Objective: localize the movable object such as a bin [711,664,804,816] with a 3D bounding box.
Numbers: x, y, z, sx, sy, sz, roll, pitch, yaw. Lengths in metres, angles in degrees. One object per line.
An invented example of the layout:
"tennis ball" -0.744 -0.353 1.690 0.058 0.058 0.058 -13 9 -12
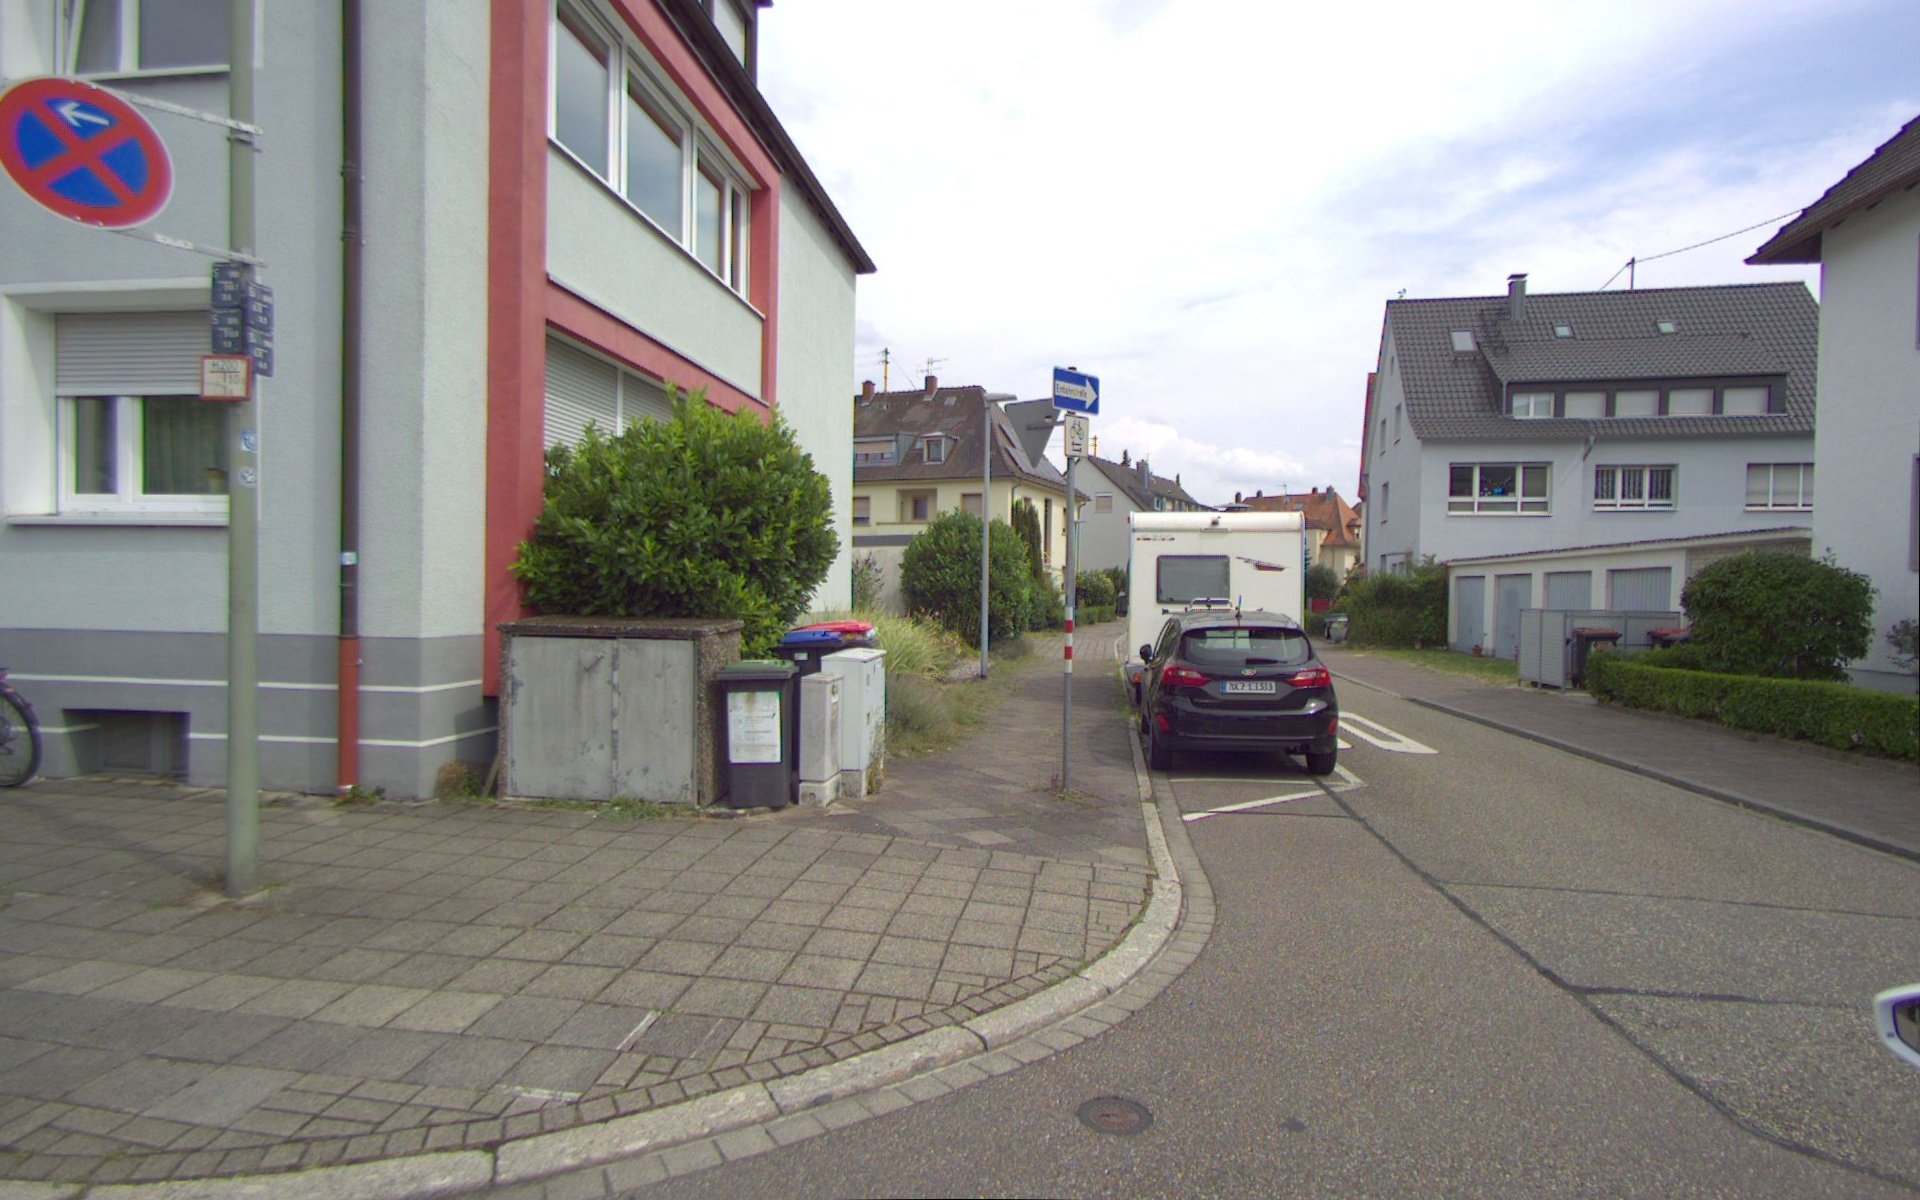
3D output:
"movable object such as a bin" -1.306 0.889 6.525 0.466 0.919 0.487 1 -1 2

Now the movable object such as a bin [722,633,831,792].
"movable object such as a bin" -1.367 0.820 7.562 0.665 1.128 0.594 1 -1 2

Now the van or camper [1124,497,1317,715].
"van or camper" 3.932 0.140 16.003 2.363 2.761 6.167 1 -1 11

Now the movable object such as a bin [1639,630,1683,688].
"movable object such as a bin" 12.137 1.010 17.397 0.446 0.986 0.507 1 -1 9

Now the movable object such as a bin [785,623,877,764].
"movable object such as a bin" -1.087 0.777 8.590 0.665 1.147 0.594 1 -1 2

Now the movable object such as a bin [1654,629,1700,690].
"movable object such as a bin" 12.041 0.991 16.885 0.446 0.986 0.507 1 -1 9

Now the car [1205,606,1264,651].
"car" 9.816 1.023 35.713 1.694 1.471 4.000 1 -1 20

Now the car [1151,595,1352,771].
"car" 2.851 0.747 10.428 1.630 1.441 3.771 1 -1 12

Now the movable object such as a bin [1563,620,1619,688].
"movable object such as a bin" 11.022 0.930 17.565 0.570 1.152 0.755 1 -1 9

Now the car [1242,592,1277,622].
"car" 18.883 0.450 63.178 1.823 1.765 4.346 1 -1 20

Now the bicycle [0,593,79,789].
"bicycle" -6.658 0.535 6.385 1.835 1.168 0.492 1 1 7
